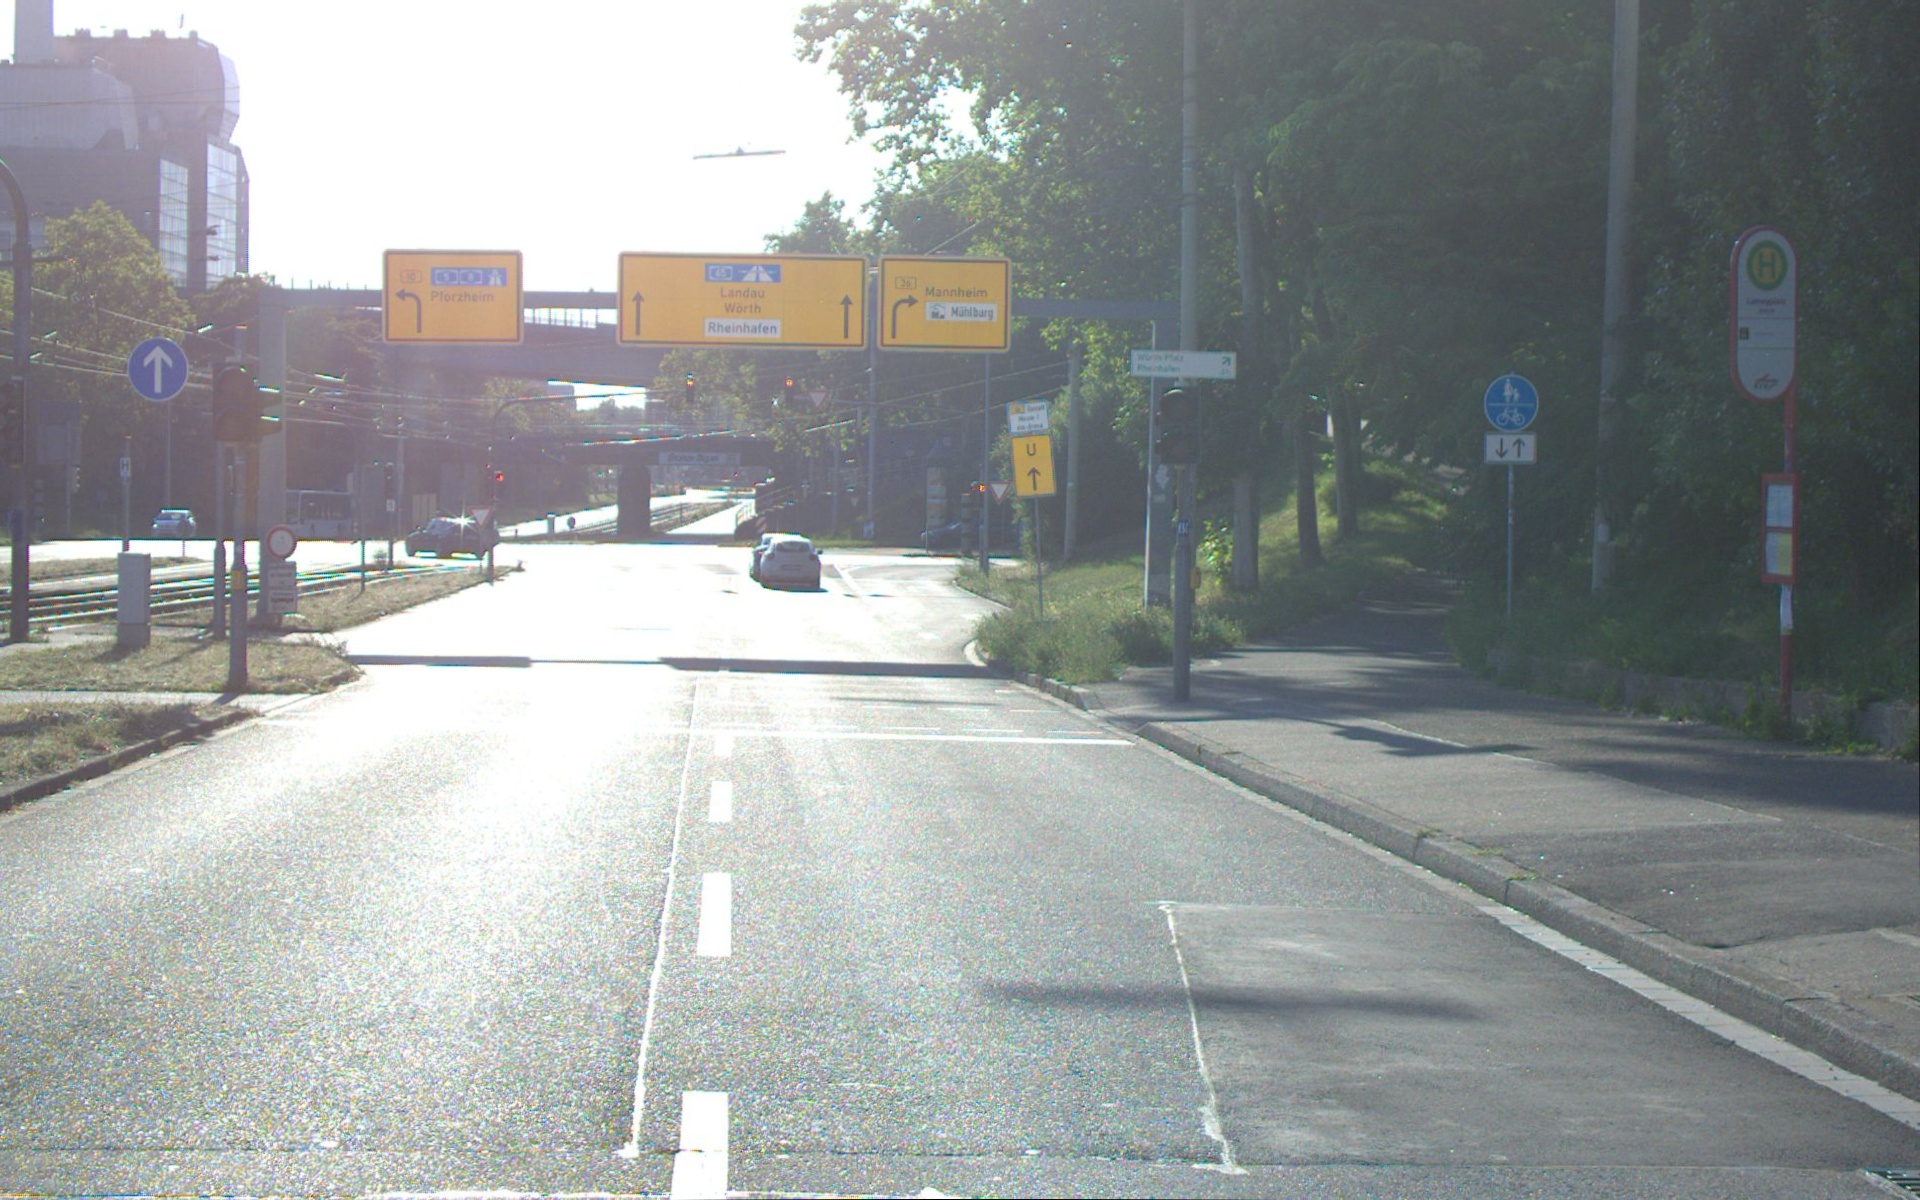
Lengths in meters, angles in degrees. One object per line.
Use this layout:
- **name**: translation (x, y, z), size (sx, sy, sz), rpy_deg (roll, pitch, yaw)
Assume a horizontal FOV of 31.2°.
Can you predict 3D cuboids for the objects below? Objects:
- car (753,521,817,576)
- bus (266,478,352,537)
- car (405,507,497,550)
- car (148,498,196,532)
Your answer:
- **car**: translation (-5.129, -1.519, 100.404), size (1.736, 1.500, 4.001), rpy_deg (1, 2, -4)
- **bus**: translation (-36.904, -5.205, 195.213), size (2.543, 3.119, 12.918), rpy_deg (1, 1, -1)
- **car**: translation (-18.750, -2.632, 126.622), size (1.736, 1.500, 4.000), rpy_deg (-1, 3, -35)
- **car**: translation (-37.258, -4.019, 162.639), size (1.606, 1.507, 4.009), rpy_deg (2, 2, -5)
